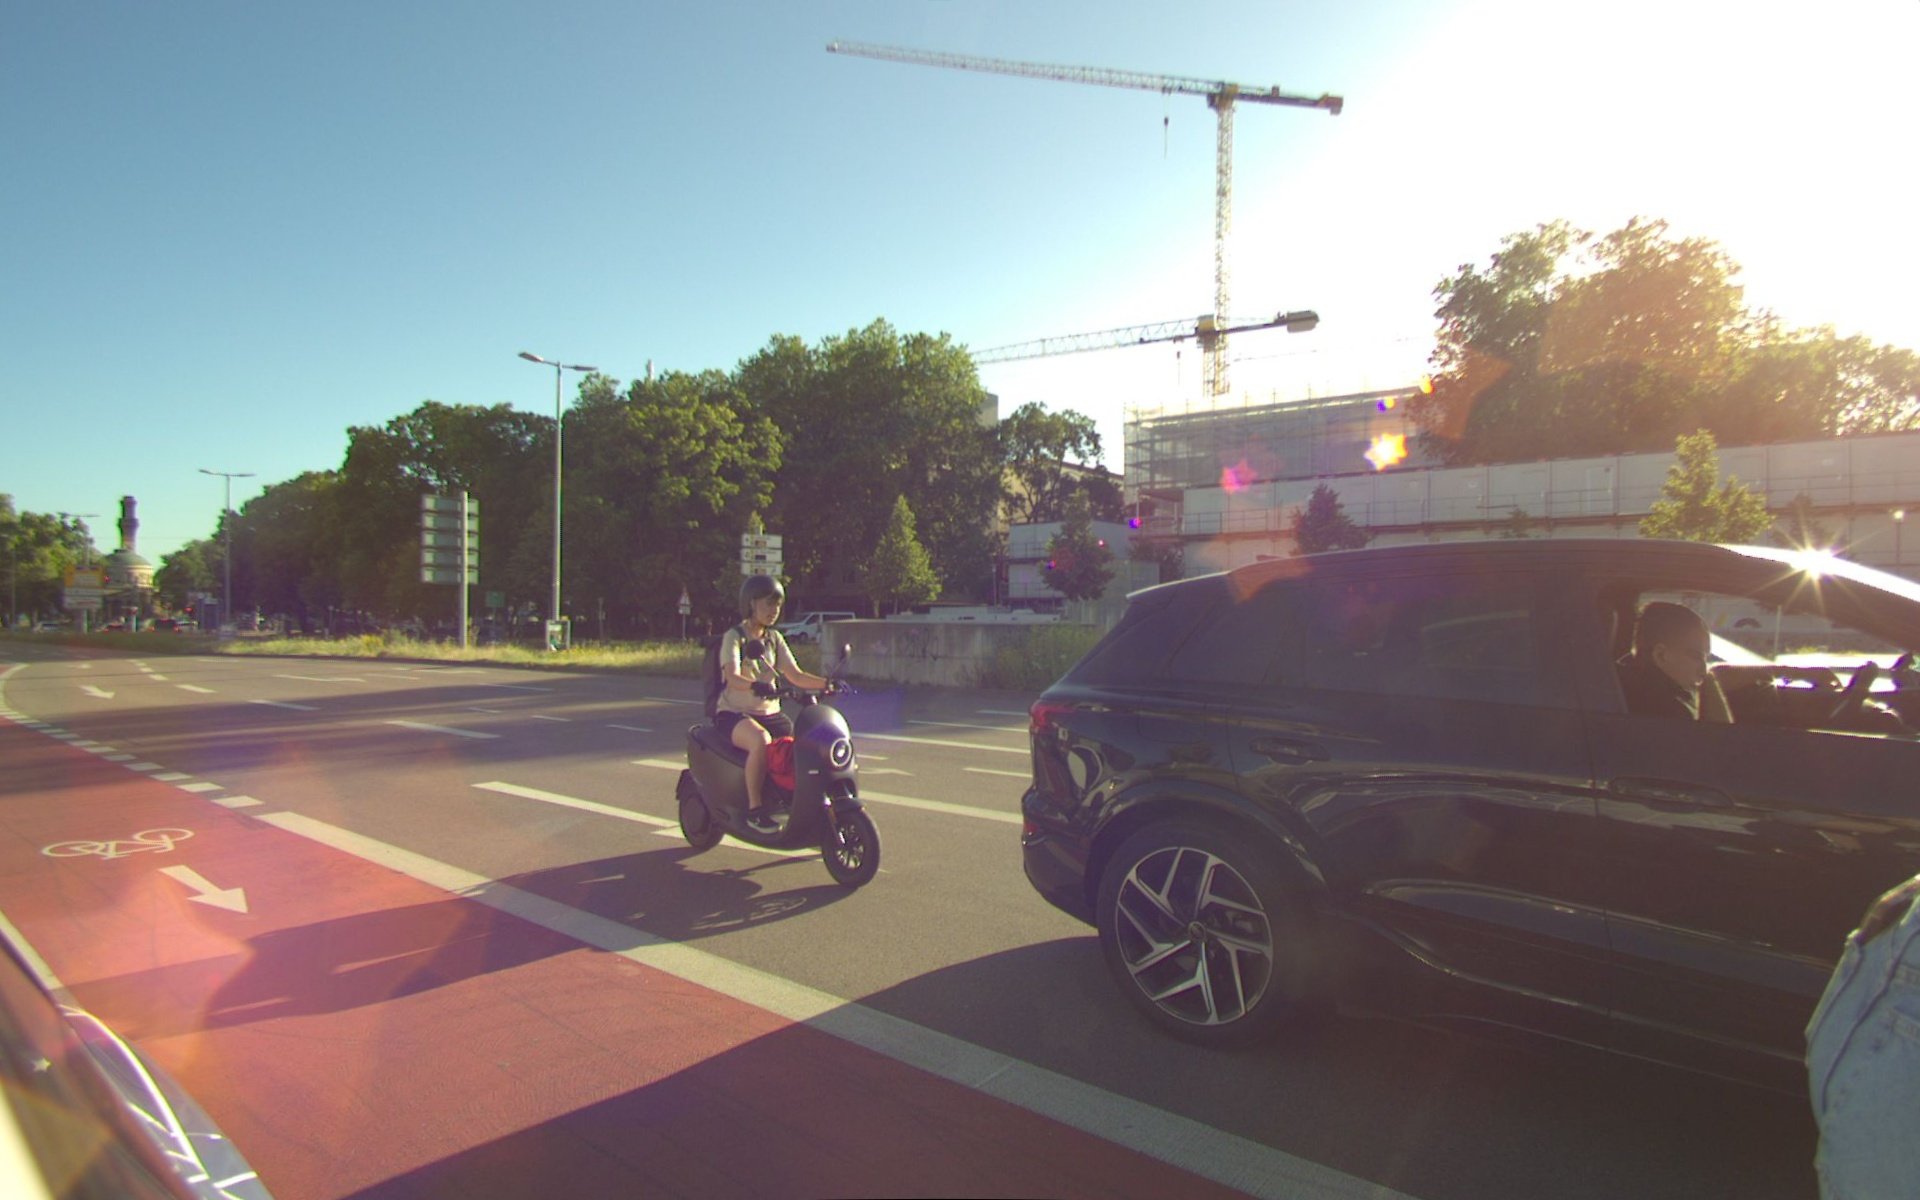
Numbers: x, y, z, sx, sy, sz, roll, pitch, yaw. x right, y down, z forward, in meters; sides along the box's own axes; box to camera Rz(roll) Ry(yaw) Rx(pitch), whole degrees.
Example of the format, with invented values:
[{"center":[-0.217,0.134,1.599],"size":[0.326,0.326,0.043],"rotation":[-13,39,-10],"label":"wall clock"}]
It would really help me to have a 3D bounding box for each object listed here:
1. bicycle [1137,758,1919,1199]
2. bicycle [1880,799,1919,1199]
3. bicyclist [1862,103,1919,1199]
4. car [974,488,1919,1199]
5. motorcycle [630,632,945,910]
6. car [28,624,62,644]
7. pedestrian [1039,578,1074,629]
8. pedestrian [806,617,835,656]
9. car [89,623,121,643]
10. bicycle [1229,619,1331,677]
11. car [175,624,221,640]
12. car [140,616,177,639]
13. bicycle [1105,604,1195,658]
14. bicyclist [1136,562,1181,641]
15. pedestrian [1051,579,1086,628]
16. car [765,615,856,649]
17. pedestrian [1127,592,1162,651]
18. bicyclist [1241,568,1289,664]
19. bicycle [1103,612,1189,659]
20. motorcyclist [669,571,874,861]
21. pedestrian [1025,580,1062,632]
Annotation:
[{"center":[1.063,0.807,0.523],"size":[1.829,1.227,0.610],"rotation":[-2,-1,39],"label":"bicycle"},{"center":[1.999,0.848,0.686],"size":[1.968,1.118,0.640],"rotation":[-2,-1,39],"label":"bicycle"},{"center":[1.083,0.452,0.502],"size":[0.874,1.591,0.635],"rotation":[-2,-1,39],"label":"bicyclist"},{"center":[2.416,0.580,3.027],"size":[4.677,1.647,1.753],"rotation":[-1,0,40],"label":"car"},{"center":[-1.033,0.846,5.731],"size":[1.883,1.303,0.715],"rotation":[-2,-1,41],"label":"motorcycle"},{"center":[-83.362,3.094,92.204],"size":[3.998,1.699,1.826],"rotation":[-1,0,41],"label":"car"},{"center":[3.967,0.144,41.651],"size":[1.135,2.029,0.930],"rotation":[-1,0,35],"label":"pedestrian"},{"center":[-6.827,1.782,49.443],"size":[1.018,1.845,0.977],"rotation":[-1,0,37],"label":"pedestrian"},{"center":[-79.873,3.046,94.530],"size":[3.945,1.802,1.725],"rotation":[-1,0,41],"label":"car"},{"center":[10.518,1.572,33.399],"size":[3.079,1.824,0.831],"rotation":[-3,-1,40],"label":"bicycle"},{"center":[-86.399,3.637,114.759],"size":[3.940,1.699,1.853],"rotation":[-1,0,-43],"label":"car"},{"center":[-67.598,2.320,85.341],"size":[3.998,1.841,1.796],"rotation":[-1,0,41],"label":"car"},{"center":[6.777,1.132,36.245],"size":[3.079,1.824,0.831],"rotation":[-3,-2,40],"label":"bicycle"},{"center":[7.060,0.047,36.000],"size":[1.305,2.749,0.831],"rotation":[-1,0,39],"label":"bicyclist"},{"center":[4.561,0.137,42.458],"size":[1.135,2.029,0.930],"rotation":[-1,0,35],"label":"pedestrian"},{"center":[-9.063,1.934,61.845],"size":[2.065,1.950,5.443],"rotation":[-1,-2,42],"label":"car"},{"center":[7.537,0.869,41.344],"size":[1.017,2.393,1.008],"rotation":[-1,0,39],"label":"pedestrian"},{"center":[10.150,0.508,33.697],"size":[1.305,3.126,0.831],"rotation":[-1,0,39],"label":"bicyclist"},{"center":[7.583,1.425,41.309],"size":[3.355,1.824,1.066],"rotation":[-1,0,40],"label":"bicycle"},{"center":[-1.079,0.600,5.771],"size":[0.917,1.485,0.717],"rotation":[-2,-1,41],"label":"motorcyclist"},{"center":[3.371,0.242,40.872],"size":[1.135,2.029,0.930],"rotation":[-1,0,35],"label":"pedestrian"}]
